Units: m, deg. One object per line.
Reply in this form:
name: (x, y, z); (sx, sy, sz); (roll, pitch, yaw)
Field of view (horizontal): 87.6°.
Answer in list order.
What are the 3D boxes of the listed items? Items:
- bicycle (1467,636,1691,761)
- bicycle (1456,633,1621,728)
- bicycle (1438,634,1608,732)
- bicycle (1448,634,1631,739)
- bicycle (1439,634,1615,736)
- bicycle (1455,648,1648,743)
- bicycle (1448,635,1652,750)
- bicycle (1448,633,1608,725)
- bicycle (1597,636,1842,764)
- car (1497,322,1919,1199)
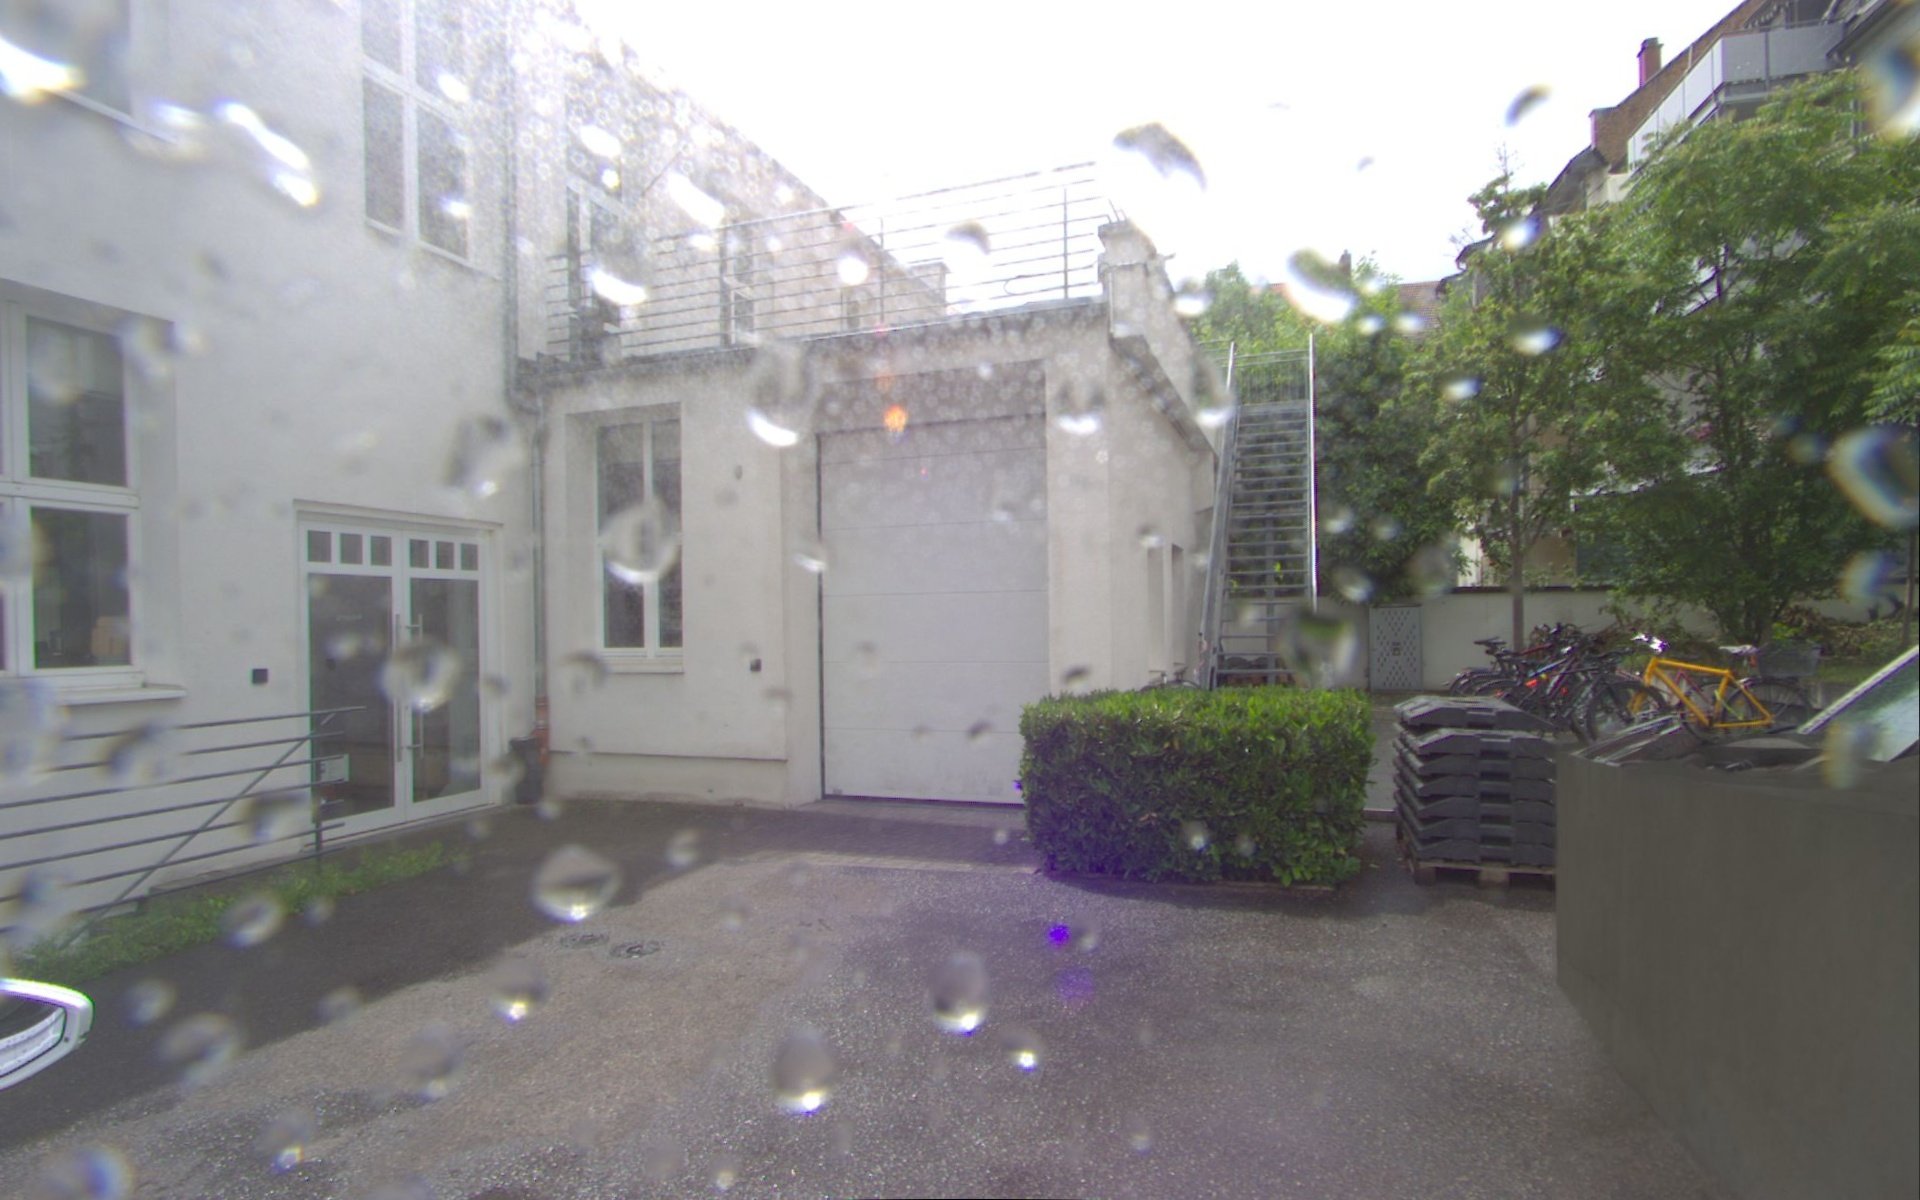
bicycle: (5.865, 0.911, 9.574); (1.766, 1.118, 0.404); (-1, 0, 22)
bicycle: (7.092, 0.981, 12.334); (1.723, 1.118, 0.355); (-1, 0, 14)
bicycle: (6.666, 0.973, 11.910); (1.723, 1.118, 0.345); (-1, 0, 14)
bicycle: (6.399, 0.952, 11.116); (1.723, 1.118, 0.332); (-1, 0, 14)
bicycle: (6.470, 0.963, 11.482); (1.723, 1.118, 0.342); (-1, 0, 14)
bicycle: (6.332, 1.012, 10.779); (1.763, 0.980, 0.329); (-1, 0, 14)
bicycle: (6.056, 0.933, 10.361); (1.766, 1.118, 0.354); (-1, 0, 22)
bicycle: (7.170, 0.991, 12.694); (1.723, 1.118, 0.341); (-1, 0, 14)
bicycle: (6.974, 0.897, 9.276); (1.766, 1.118, 0.366); (-1, 0, 22)
car: (3.658, 0.529, 1.442); (4.660, 1.888, 1.969); (-2, -1, 13)
